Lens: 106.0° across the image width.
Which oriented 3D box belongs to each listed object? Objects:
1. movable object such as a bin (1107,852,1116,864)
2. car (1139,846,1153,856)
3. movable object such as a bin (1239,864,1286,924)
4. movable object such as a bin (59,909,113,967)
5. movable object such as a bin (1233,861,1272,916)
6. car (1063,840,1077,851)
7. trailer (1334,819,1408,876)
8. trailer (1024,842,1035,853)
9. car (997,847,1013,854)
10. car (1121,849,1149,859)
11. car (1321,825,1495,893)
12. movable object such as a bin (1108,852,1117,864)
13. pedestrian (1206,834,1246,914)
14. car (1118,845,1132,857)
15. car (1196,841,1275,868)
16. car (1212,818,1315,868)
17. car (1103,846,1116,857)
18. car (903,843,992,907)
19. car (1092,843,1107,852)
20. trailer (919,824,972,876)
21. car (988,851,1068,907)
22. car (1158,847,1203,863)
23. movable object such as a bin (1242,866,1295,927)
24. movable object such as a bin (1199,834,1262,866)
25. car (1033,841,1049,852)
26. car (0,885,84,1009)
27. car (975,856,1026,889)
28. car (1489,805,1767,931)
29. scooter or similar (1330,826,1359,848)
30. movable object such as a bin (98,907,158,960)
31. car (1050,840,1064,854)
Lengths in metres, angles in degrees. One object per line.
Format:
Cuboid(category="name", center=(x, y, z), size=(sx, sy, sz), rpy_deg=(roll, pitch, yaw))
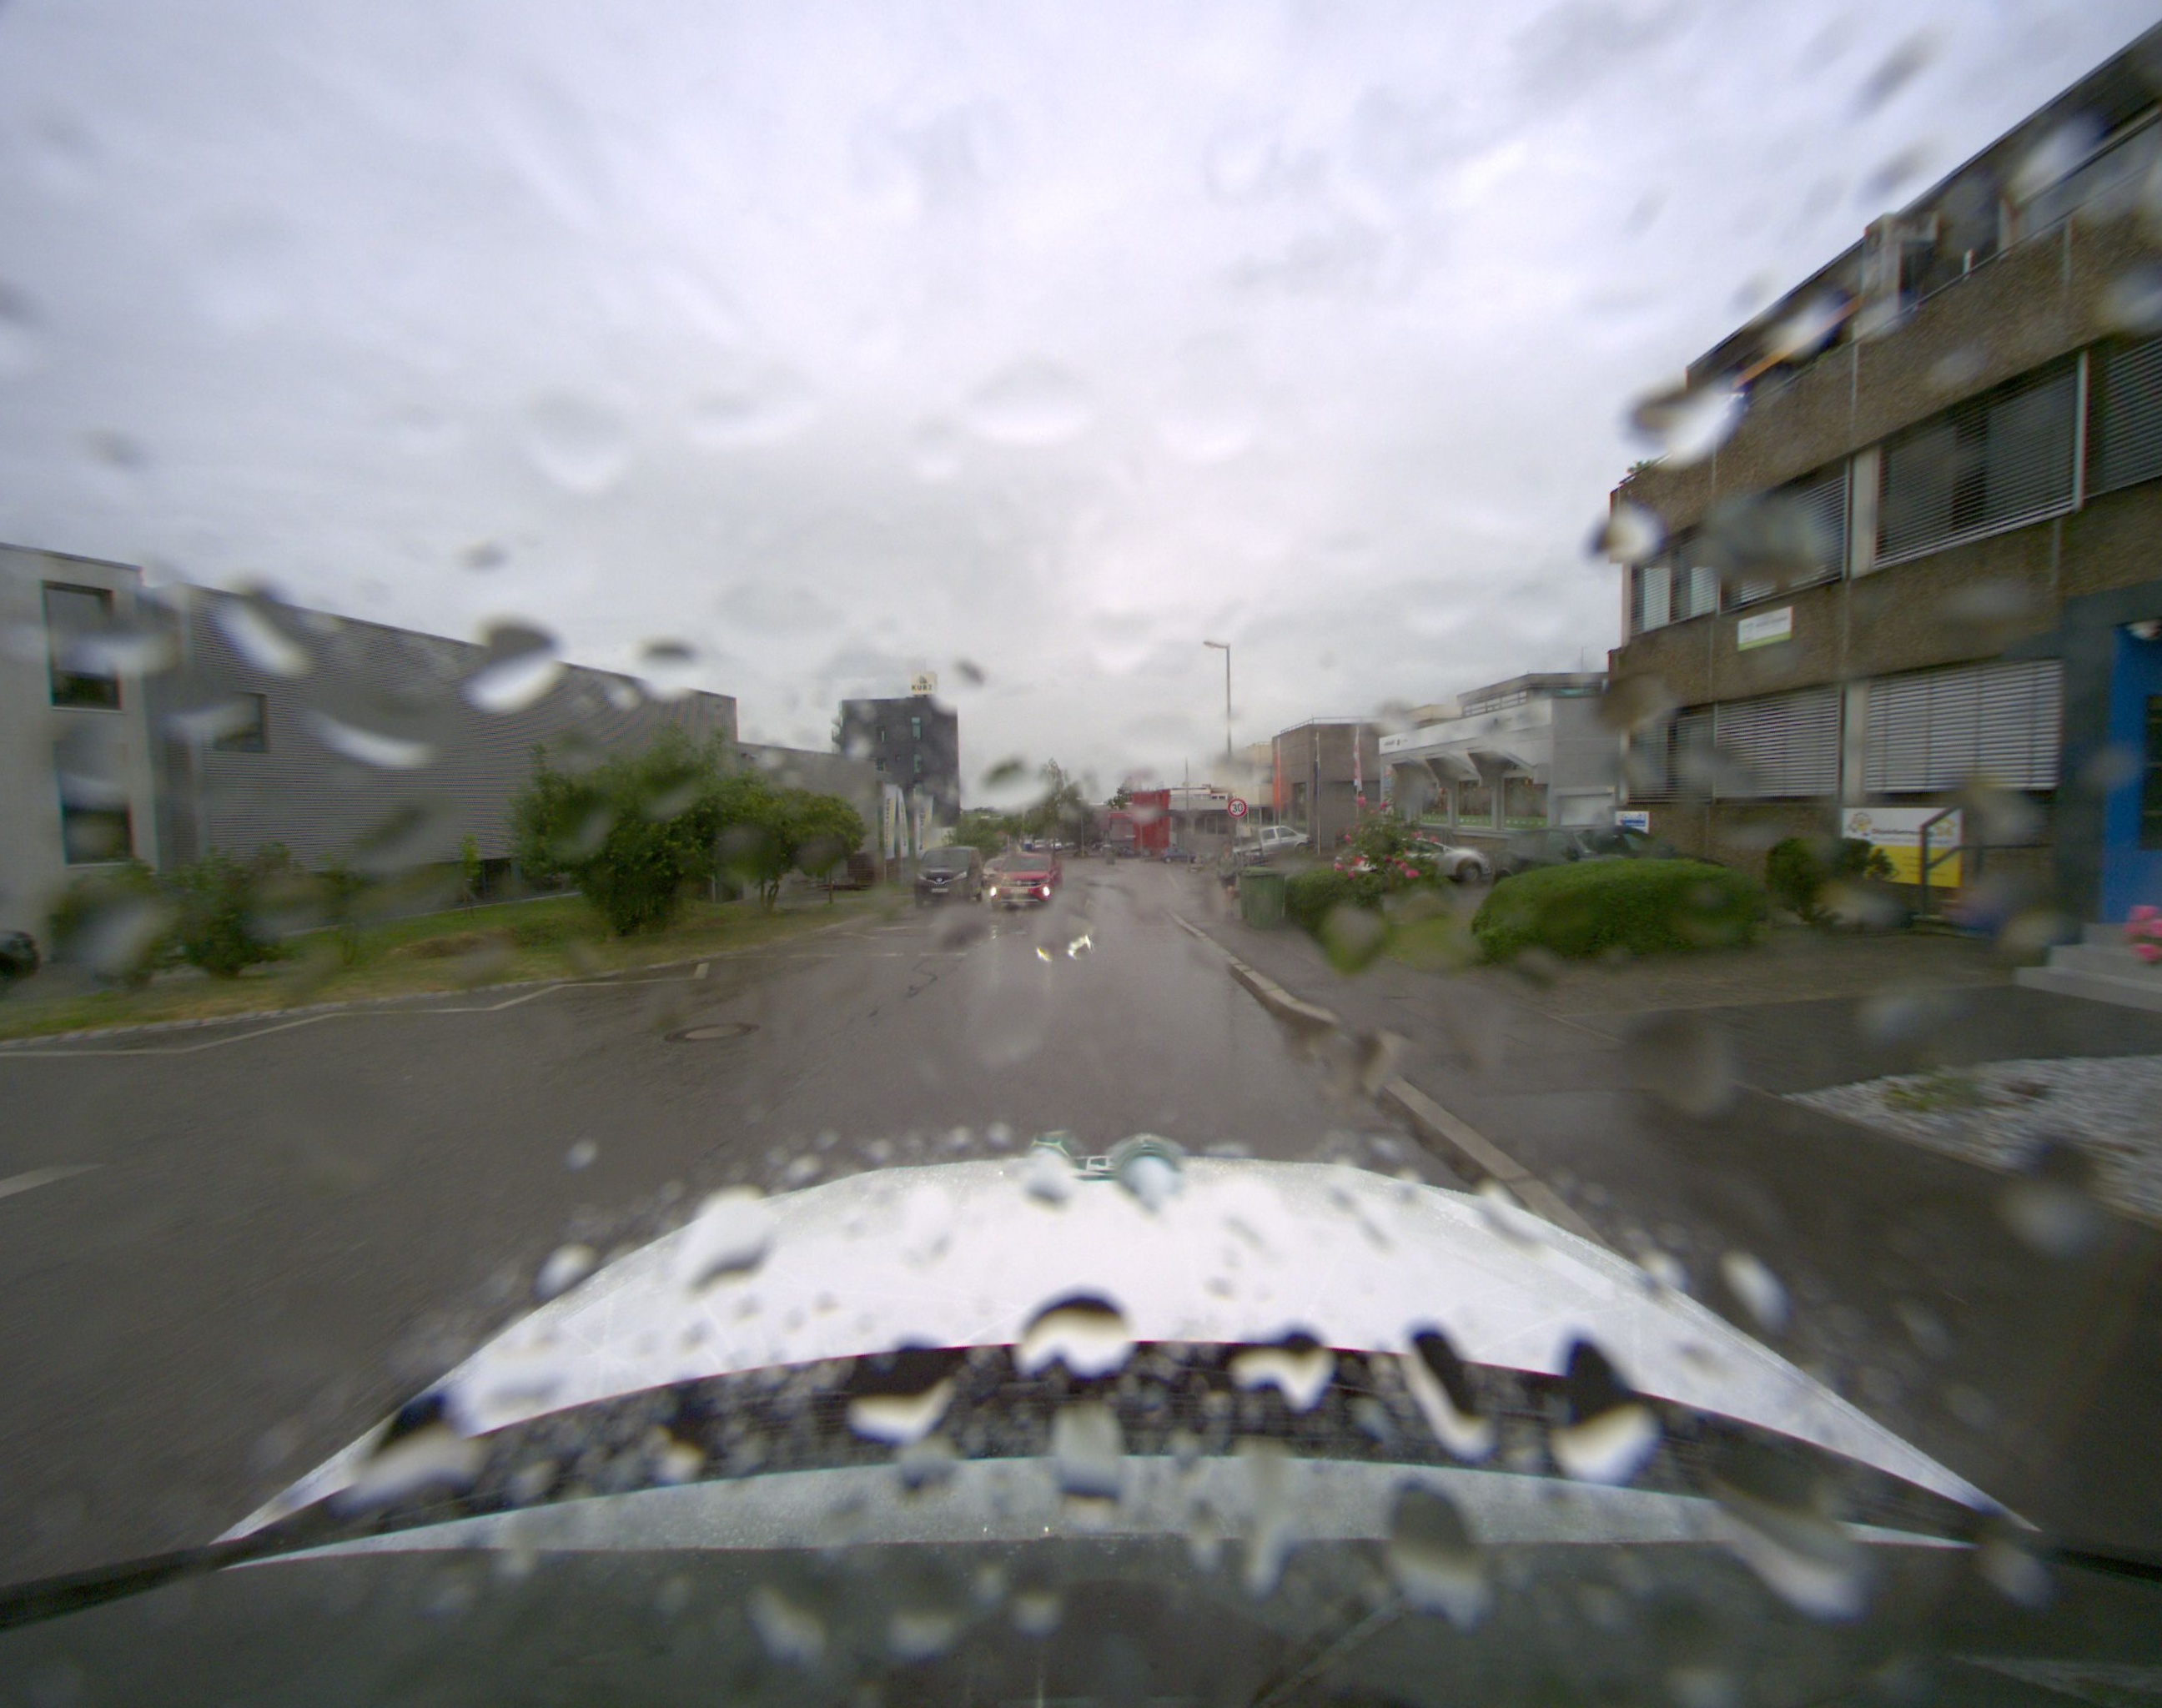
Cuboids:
Cuboid(category="movable object such as a bin", center=(2.937, 0.380, 78.787), size=(0.774, 1.076, 0.582), rpy_deg=(-2, 0, -5))
Cuboid(category="car", center=(9.440, -0.431, 118.482), size=(1.723, 1.422, 3.999), rpy_deg=(-2, 0, 0))
Cuboid(category="movable object such as a bin", center=(3.407, 0.746, 15.342), size=(0.740, 1.066, 0.637), rpy_deg=(-2, 0, 1))
Cuboid(category="movable object such as a bin", center=(-21.439, 1.797, 17.547), size=(0.550, 1.166, 0.571), rpy_deg=(-3, 1, 26))
Cuboid(category="movable object such as a bin", center=(3.653, 0.731, 17.311), size=(0.723, 1.113, 0.707), rpy_deg=(-1, 0, 16))
Cuboid(category="car", center=(-2.093, -1.568, 154.420), size=(2.143, 2.013, 3.930), rpy_deg=(-2, 0, -7))
Cuboid(category="trailer", center=(13.228, -0.343, 37.422), size=(1.880, 2.416, 4.310), rpy_deg=(-2, 1, 2))
Cuboid(category="trailer", center=(-10.000, -1.268, 156.903), size=(1.851, 2.013, 3.990), rpy_deg=(-2, 1, -8))
Cuboid(category="car", center=(-18.534, -0.877, 198.207), size=(2.474, 1.539, 3.965), rpy_deg=(-2, 0, -27))
Cuboid(category="car", center=(6.631, -0.012, 100.787), size=(3.388, 1.163, 1.792), rpy_deg=(-2, 1, 1))
Cuboid(category="car", center=(9.292, 0.155, 23.392), size=(4.108, 1.574, 2.003), rpy_deg=(-4, -1, -1))
Cuboid(category="movable object such as a bin", center=(3.034, 0.377, 78.140), size=(0.805, 1.092, 0.708), rpy_deg=(-2, 0, -5))
Cuboid(category="pedestrian", center=(3.296, 0.446, 18.583), size=(0.734, 1.767, 0.809), rpy_deg=(-2, 0, 1))
Cuboid(category="car", center=(6.438, -0.489, 119.332), size=(1.734, 1.653, 3.999), rpy_deg=(-2, 0, 0))
Cuboid(category="car", center=(10.742, 0.011, 56.933), size=(5.076, 1.613, 1.924), rpy_deg=(-3, 1, -1))
Cuboid(category="car", center=(10.625, -0.624, 47.728), size=(5.283, 2.013, 2.221), rpy_deg=(-10, 0, -1))
Cuboid(category="car", center=(4.074, -0.319, 118.586), size=(1.692, 1.475, 3.999), rpy_deg=(-2, 0, 0))
Cuboid(category="car", center=(-4.189, 0.614, 26.337), size=(1.908, 1.831, 4.849), rpy_deg=(-2, 0, 1))
Cuboid(category="car", center=(3.224, -1.133, 140.684), size=(2.544, 1.352, 1.240), rpy_deg=(-2, 0, -6))
Cuboid(category="trailer", center=(-11.510, -0.298, 69.123), size=(4.132, 4.203, 2.019), rpy_deg=(-3, 0, 38))
Cuboid(category="car", center=(-1.478, 0.696, 24.189), size=(1.739, 1.508, 3.940), rpy_deg=(-1, -1, 5))
Cuboid(category="car", center=(9.033, 0.067, 73.901), size=(3.883, 1.383, 1.820), rpy_deg=(0, -1, -1))
Cuboid(category="movable object such as a bin", center=(3.350, 0.741, 14.607), size=(0.769, 1.030, 0.808), rpy_deg=(-2, 0, 1))
Cuboid(category="movable object such as a bin", center=(10.801, -0.313, 58.938), size=(4.240, 2.110, 1.477), rpy_deg=(-3, 0, 0))
Cuboid(category="car", center=(-7.523, -1.374, 152.931), size=(2.269, 2.013, 3.979), rpy_deg=(-2, 0, -15))
Cuboid(category="car", center=(-19.323, 1.683, 11.832), size=(2.109, 1.921, 5.643), rpy_deg=(-1, 3, 24))
Cuboid(category="car", center=(-3.968, 0.869, 40.980), size=(1.949, 1.461, 5.247), rpy_deg=(-2, 0, 0))
Cuboid(category="car", center=(9.026, 0.217, 14.011), size=(1.743, 1.750, 4.473), rpy_deg=(-2, 0, 0))
Cuboid(category="scooter or similar", center=(15.823, -1.038, 48.997), size=(1.060, 1.224, 2.066), rpy_deg=(-6, 2, 3))
Cuboid(category="movable object such as a bin", center=(-21.213, 1.756, 18.138), size=(0.629, 1.096, 0.678), rpy_deg=(-3, 1, 26))
Cuboid(category="car", center=(-4.521, -1.385, 153.404), size=(2.192, 2.459, 3.988), rpy_deg=(-2, 0, -8))
